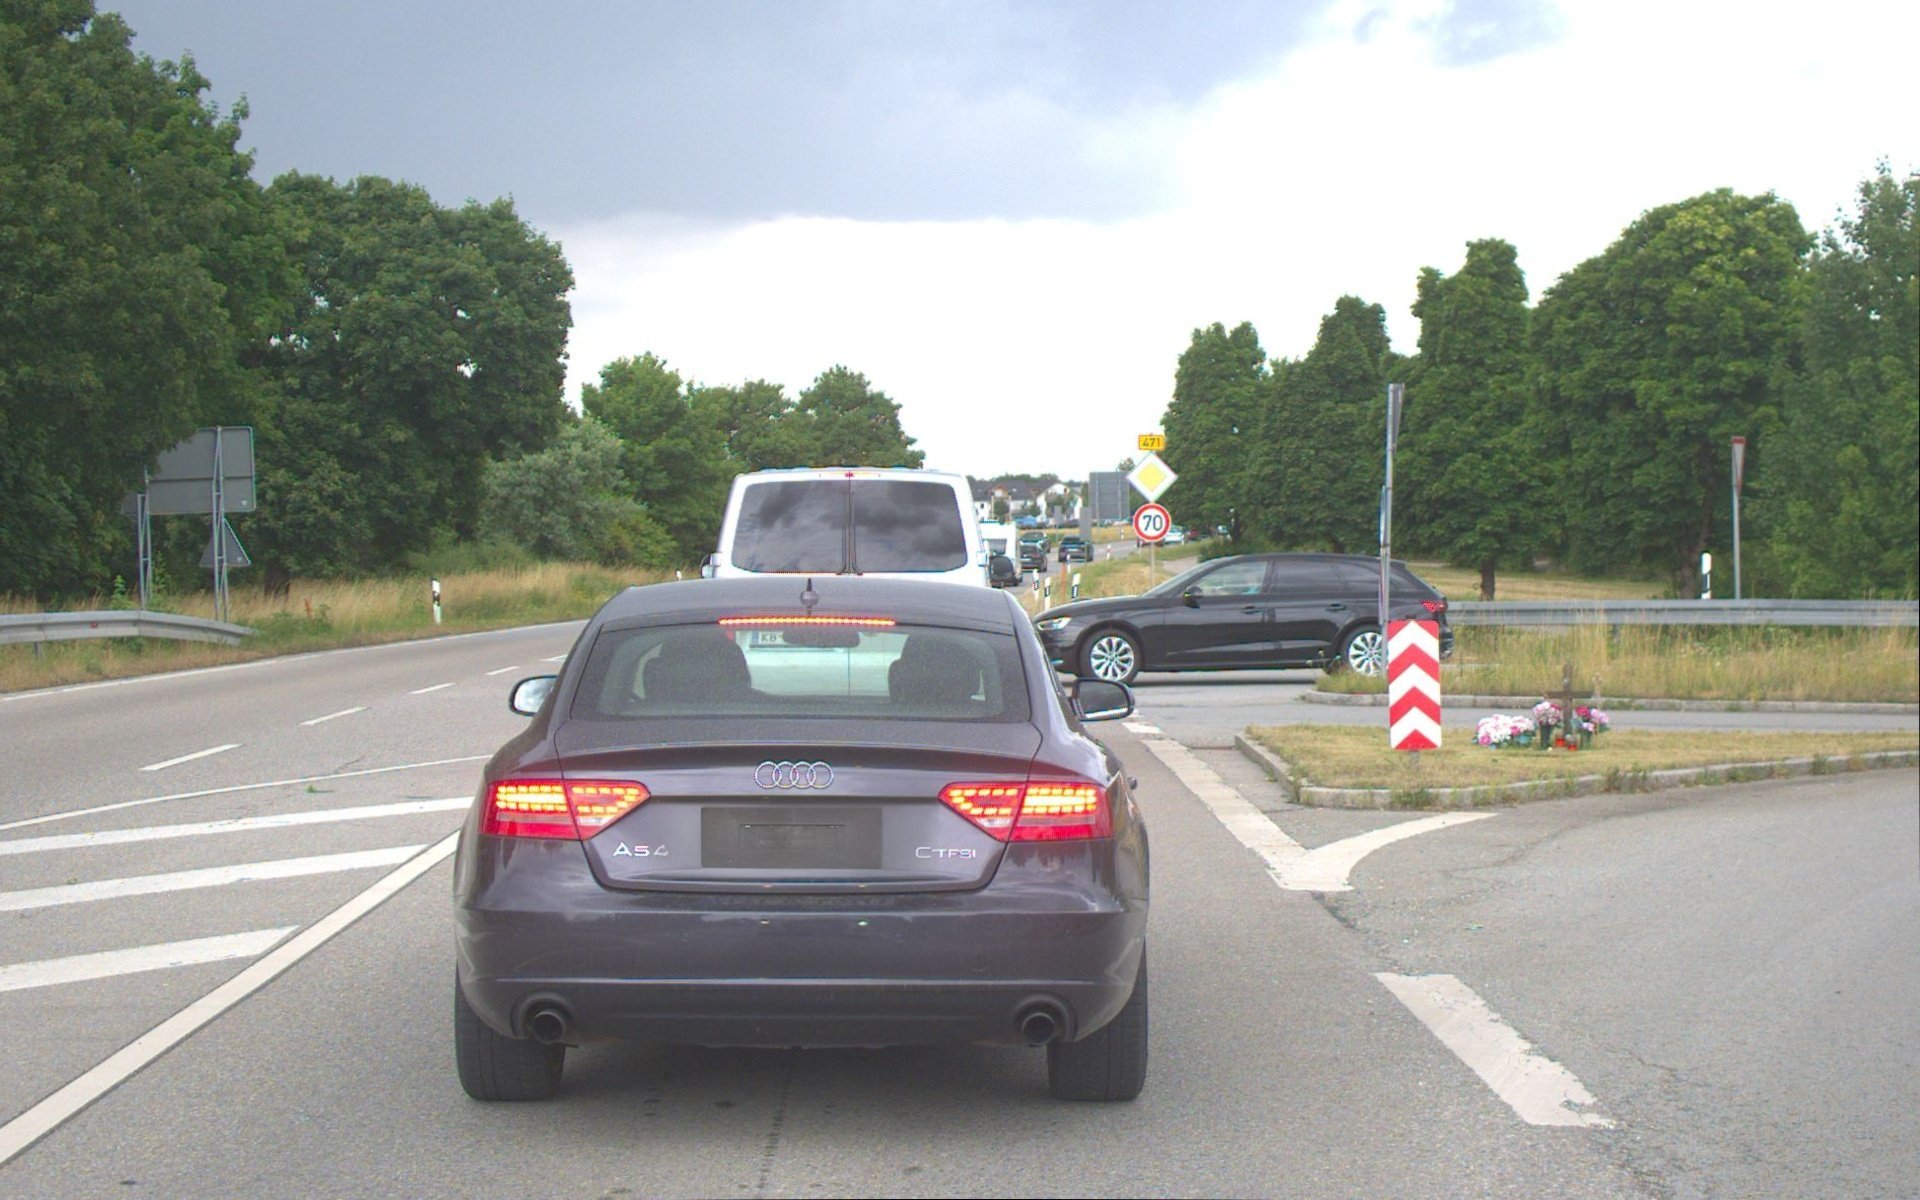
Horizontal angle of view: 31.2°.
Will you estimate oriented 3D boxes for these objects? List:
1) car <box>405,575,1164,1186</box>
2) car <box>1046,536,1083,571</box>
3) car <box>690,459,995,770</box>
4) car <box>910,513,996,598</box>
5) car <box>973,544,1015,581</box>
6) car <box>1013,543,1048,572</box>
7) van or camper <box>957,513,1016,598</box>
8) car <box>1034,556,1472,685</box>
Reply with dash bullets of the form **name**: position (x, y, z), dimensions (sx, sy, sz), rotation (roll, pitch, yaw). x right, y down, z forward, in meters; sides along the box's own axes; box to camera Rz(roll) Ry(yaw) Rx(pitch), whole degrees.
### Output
- **car**: position (-0.437, 0.651, 10.138), dimensions (1.783, 1.372, 4.000), rotation (1, 1, -1)
- **car**: position (6.165, -2.759, 203.171), dimensions (1.993, 2.007, 4.000), rotation (0, 1, -1)
- **car**: position (-0.738, 0.044, 22.952), dimensions (1.838, 1.876, 4.000), rotation (1, 1, -1)
- **car**: position (-0.152, -1.132, 86.664), dimensions (1.994, 2.081, 4.000), rotation (0, 1, 2)
- **car**: position (1.263, -1.389, 127.499), dimensions (1.258, 1.349, 3.465), rotation (0, 1, 5)
- **car**: position (3.558, -2.157, 174.553), dimensions (1.719, 1.446, 4.000), rotation (1, 1, 1)
- **van or camper**: position (1.130, -1.842, 142.414), dimensions (2.340, 3.469, 5.718), rotation (0, 1, 2)
- **car**: position (3.148, 0.205, 37.571), dimensions (4.596, 1.369, 1.826), rotation (0, 1, -1)
